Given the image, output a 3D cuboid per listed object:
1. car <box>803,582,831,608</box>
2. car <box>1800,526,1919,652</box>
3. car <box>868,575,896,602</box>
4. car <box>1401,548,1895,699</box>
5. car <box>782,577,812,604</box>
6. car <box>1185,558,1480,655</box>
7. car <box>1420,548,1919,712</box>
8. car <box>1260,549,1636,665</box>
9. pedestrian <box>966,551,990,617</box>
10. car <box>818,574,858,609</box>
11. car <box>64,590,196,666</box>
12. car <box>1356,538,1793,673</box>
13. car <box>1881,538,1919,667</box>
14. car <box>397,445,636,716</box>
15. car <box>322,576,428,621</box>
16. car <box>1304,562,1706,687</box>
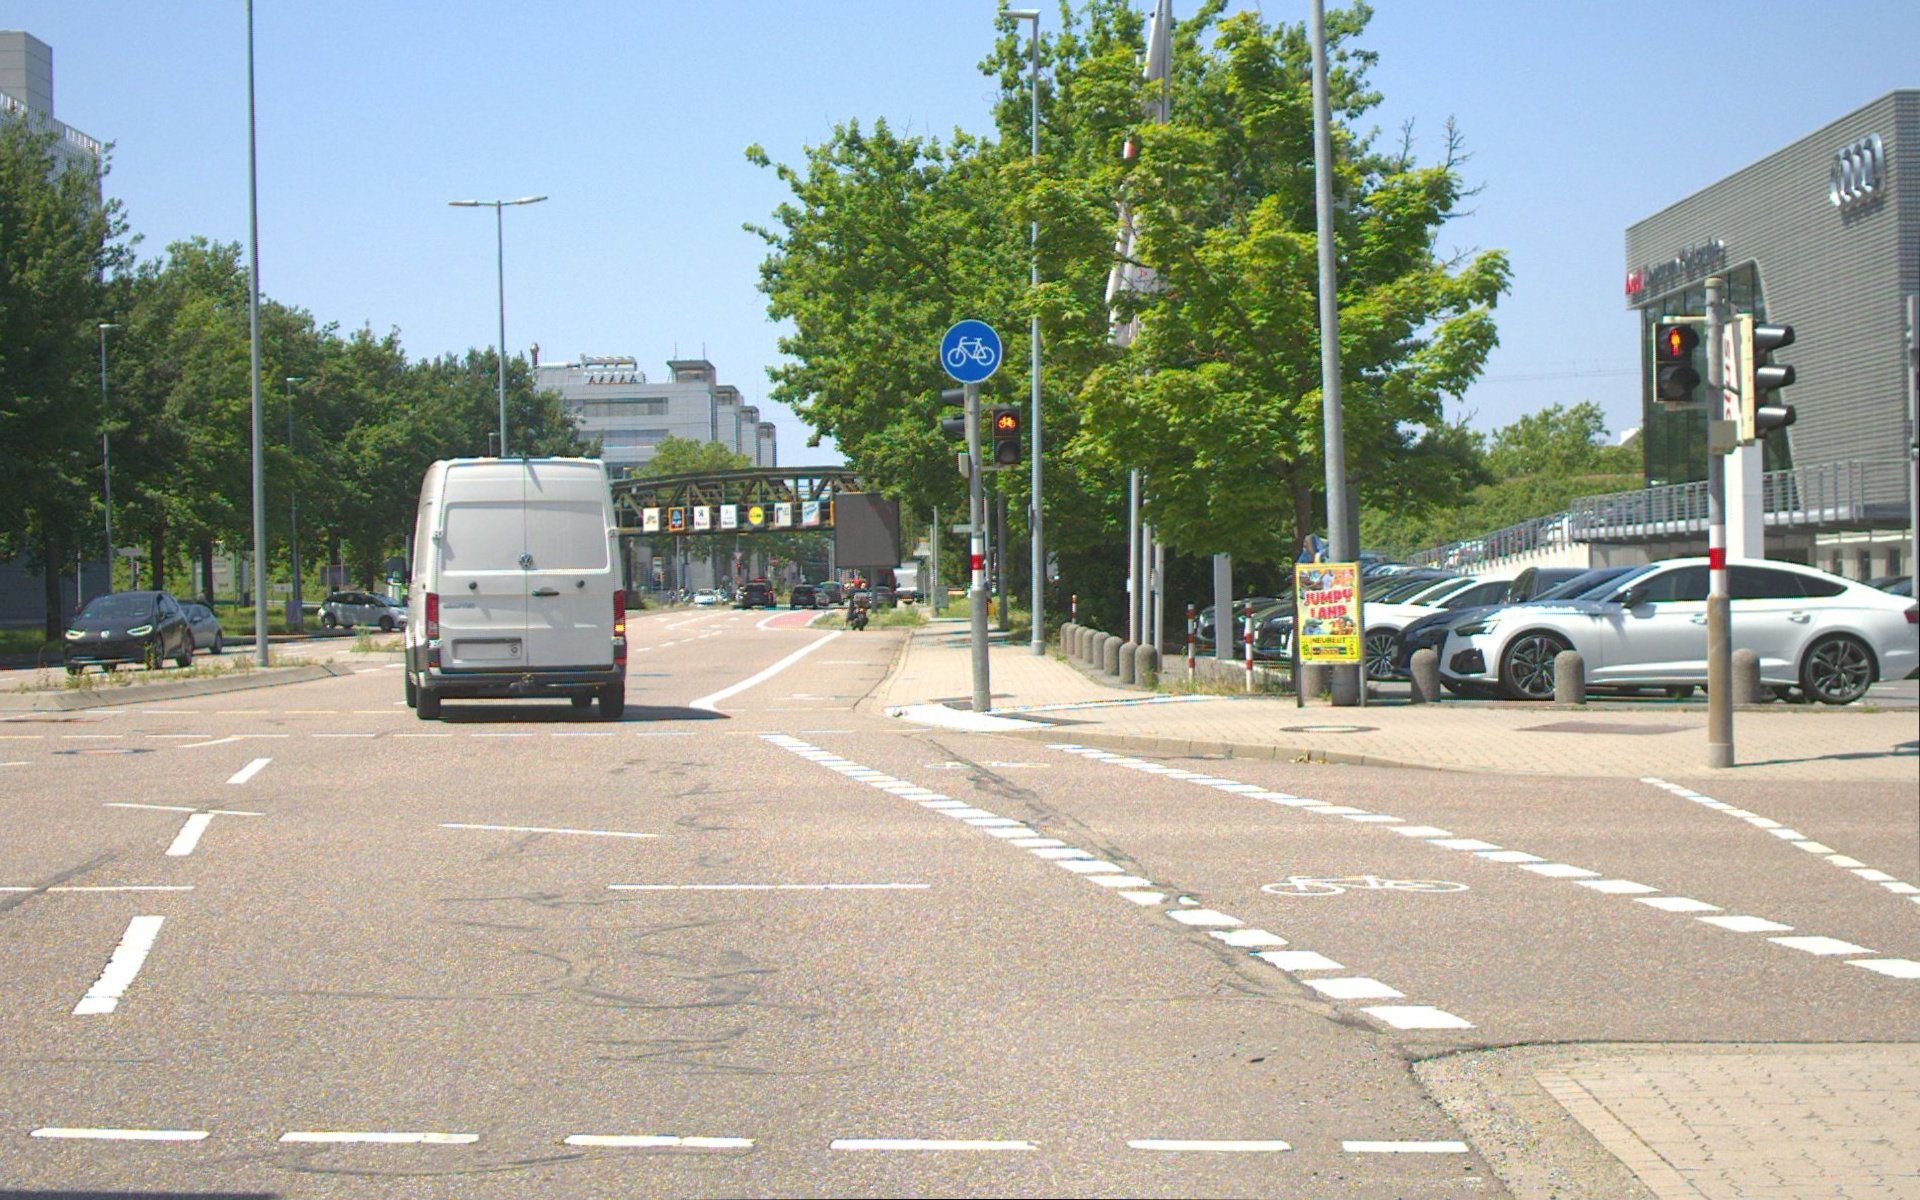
[{"bbox_3d":[-9.843,-0.372,236.318,1.772,1.722,4.000,-1,0,-1],"label":"car"},{"bbox_3d":[16.146,-0.215,56.855,3.987,2.007,2.000,-1,1,1],"label":"car"},{"bbox_3d":[-5.155,-0.760,228.608,1.772,1.722,4.000,-1,0,-1],"label":"car"},{"bbox_3d":[7.076,0.246,35.738,4.741,1.452,2.000,-1,0,2],"label":"car"},{"bbox_3d":[-10.699,-0.616,225.763,1.772,1.722,4.000,-1,0,-1],"label":"car"},{"bbox_3d":[6.331,0.098,58.835,4.741,1.452,2.000,-2,1,-2],"label":"car"},{"bbox_3d":[6.944,0.270,33.279,4.741,1.452,2.000,-1,1,2],"label":"car"},{"bbox_3d":[6.560,0.076,46.564,4.741,1.452,2.000,-1,1,-2],"label":"car"},{"bbox_3d":[0.535,-0.476,103.372,0.662,1.957,0.759,-1,0,-1],"label":"pedestrian"},{"bbox_3d":[-3.732,-0.265,105.377,1.137,1.038,2.308,-1,1,-1],"label":"car"},{"bbox_3d":[-16.133,0.522,66.944,1.684,1.406,3.665,-1,0,-1],"label":"car"},{"bbox_3d":[7.072,0.042,39.941,4.741,1.452,2.000,-1,1,2],"label":"car"},{"bbox_3d":[16.847,-0.007,54.386,3.987,2.007,2.000,-1,1,1],"label":"car"},{"bbox_3d":[-4.619,-0.206,35.085,2.095,2.525,5.803,0,0,-10],"label":"car"},{"bbox_3d":[-25.173,-0.070,148.062,4.018,1.804,1.999,1,1,14],"label":"car"},{"bbox_3d":[6.891,0.295,43.780,4.741,1.452,2.000,-1,1,-2],"label":"car"}]
